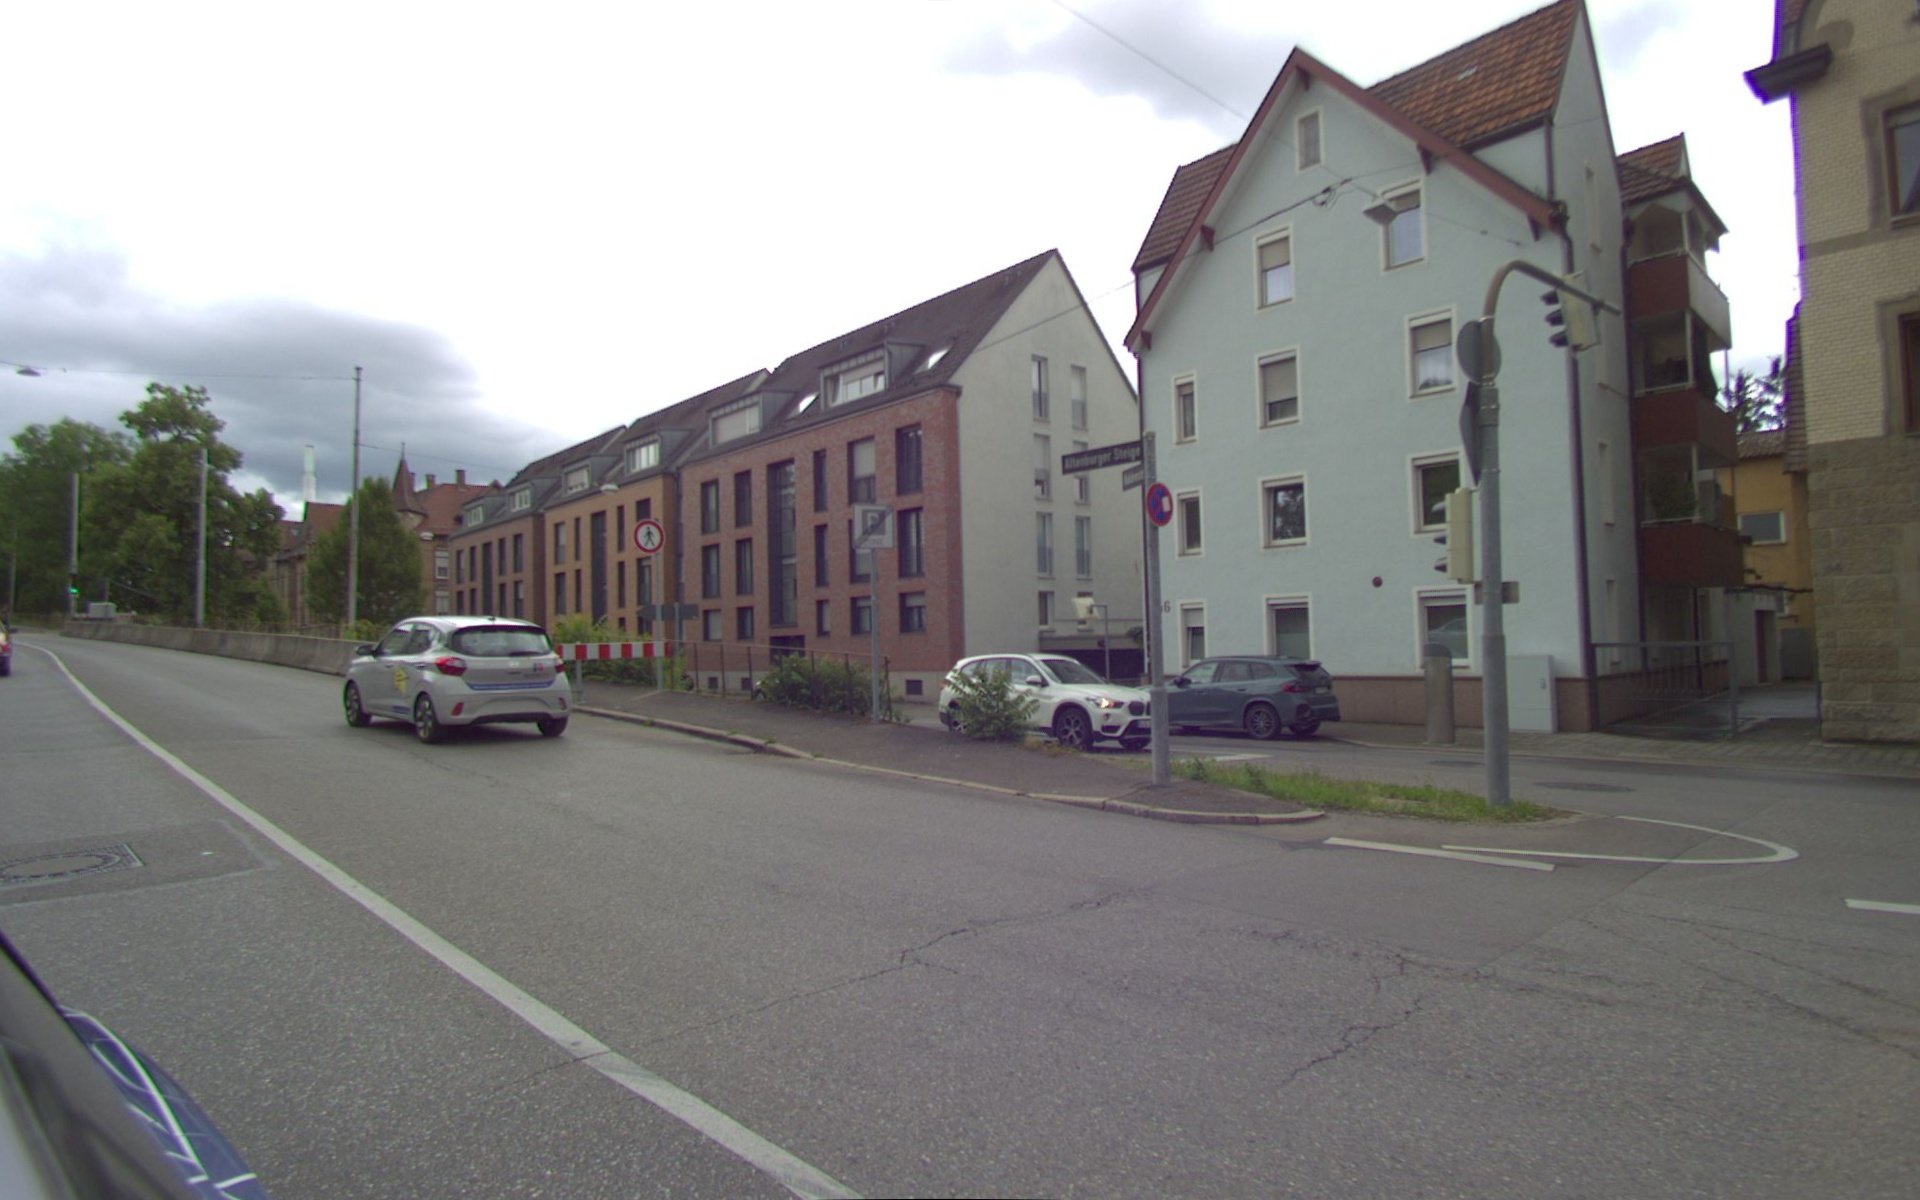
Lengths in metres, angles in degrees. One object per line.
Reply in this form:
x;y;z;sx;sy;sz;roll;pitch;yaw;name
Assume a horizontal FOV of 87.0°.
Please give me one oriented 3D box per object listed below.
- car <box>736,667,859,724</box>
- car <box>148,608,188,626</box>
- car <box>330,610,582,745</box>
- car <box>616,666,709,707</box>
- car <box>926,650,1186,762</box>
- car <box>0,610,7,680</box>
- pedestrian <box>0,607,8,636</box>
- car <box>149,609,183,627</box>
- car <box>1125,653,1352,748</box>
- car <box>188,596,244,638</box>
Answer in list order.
-5.409;3.084;33.460;4.000;1.675;1.972;-2;-4;43;car
-61.039;1.304;77.942;1.970;1.364;4.003;3;-2;-44;car
-6.540;0.974;12.990;3.643;1.479;1.651;-3;-6;43;car
-12.147;3.467;41.178;1.970;1.497;4.003;3;-4;-44;car
1.551;1.735;17.693;1.806;1.525;4.427;0;-1;-44;car
-21.841;0.975;21.815;4.000;1.449;1.624;-2;-2;43;car
-56.529;1.269;59.532;0.724;1.725;0.697;0;-1;-43;pedestrian
-70.992;1.585;90.495;1.971;1.564;4.002;-1;-1;-45;car
5.585;1.957;20.714;1.662;1.567;4.237;0;-1;-44;car
-50.315;1.082;68.383;2.528;2.601;5.743;-1;1;-42;car
